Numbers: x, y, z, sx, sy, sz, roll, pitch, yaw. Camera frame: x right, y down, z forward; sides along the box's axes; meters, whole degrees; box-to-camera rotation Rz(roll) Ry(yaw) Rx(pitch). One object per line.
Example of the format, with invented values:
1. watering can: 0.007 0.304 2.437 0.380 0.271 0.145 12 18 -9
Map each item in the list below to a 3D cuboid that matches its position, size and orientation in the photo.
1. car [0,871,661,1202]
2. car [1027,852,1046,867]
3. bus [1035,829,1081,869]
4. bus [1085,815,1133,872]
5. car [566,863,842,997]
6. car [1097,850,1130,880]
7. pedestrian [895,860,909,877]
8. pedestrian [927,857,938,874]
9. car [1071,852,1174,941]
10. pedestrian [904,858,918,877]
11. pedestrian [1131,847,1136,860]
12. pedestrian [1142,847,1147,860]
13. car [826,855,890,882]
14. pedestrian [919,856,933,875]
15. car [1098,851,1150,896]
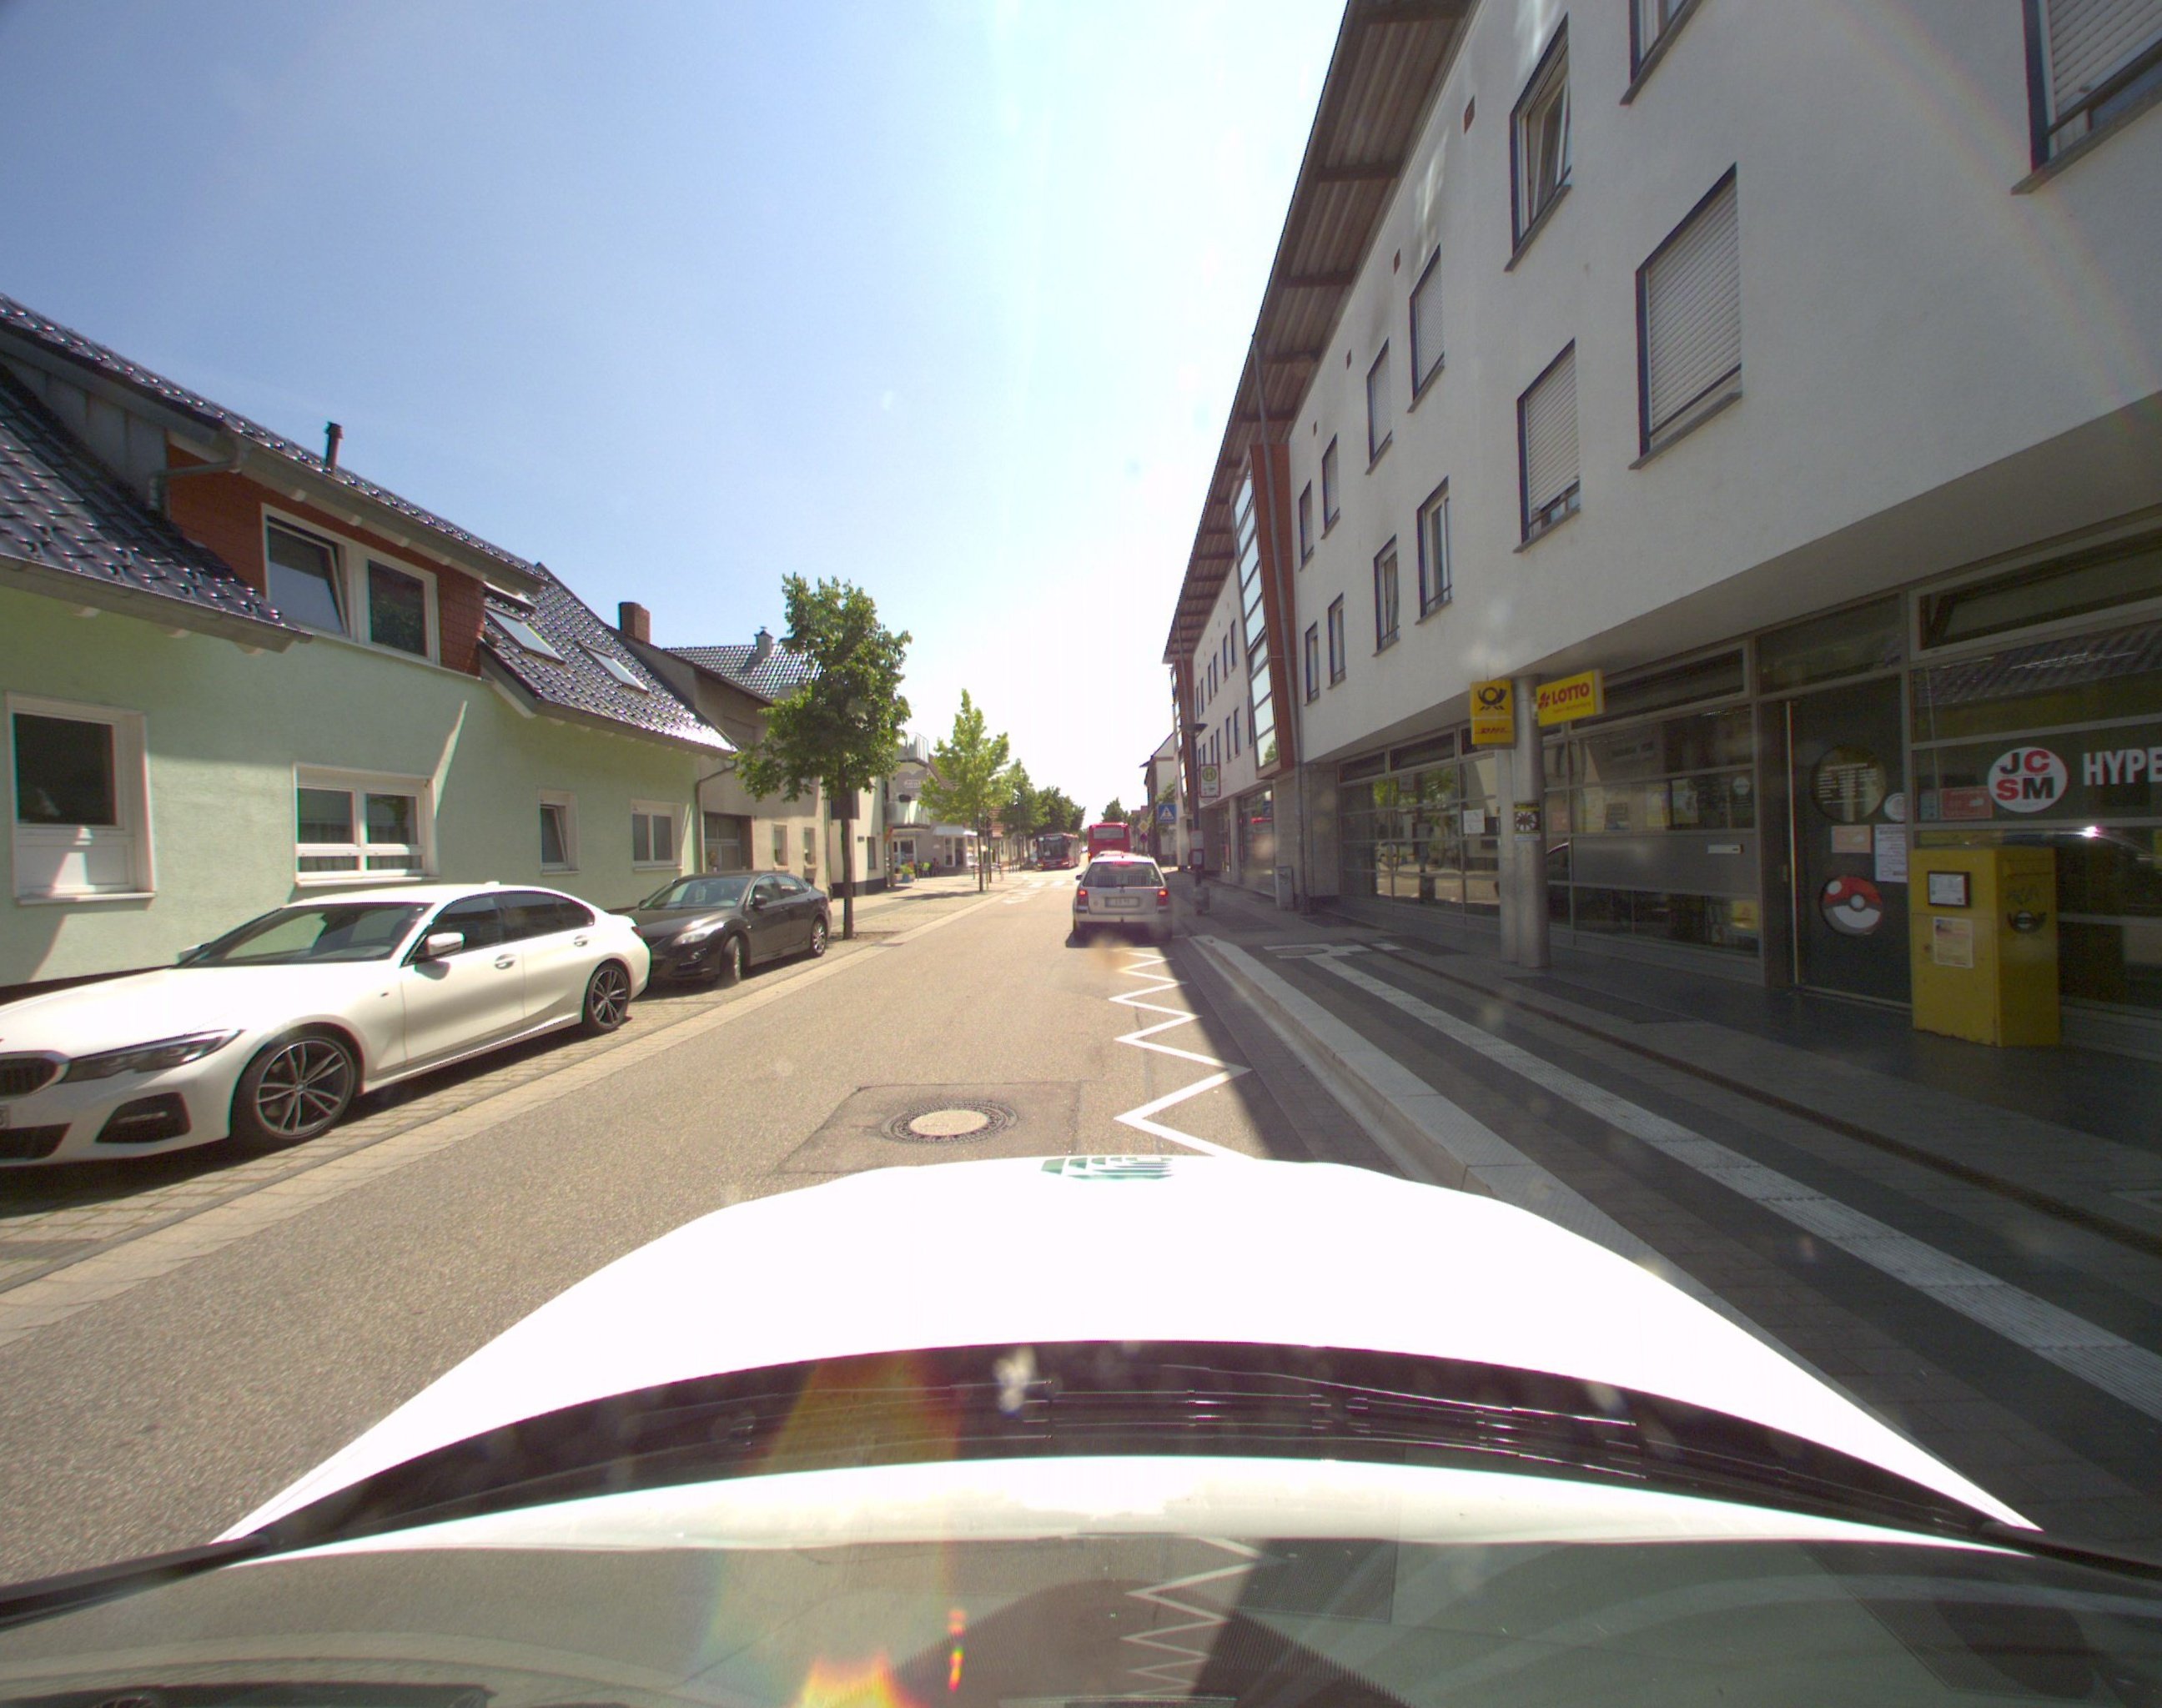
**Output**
1. car: -5.251 0.924 6.092 1.713 1.436 4.462 -1 0 2
2. car: -4.377 0.524 80.563 1.599 1.438 4.066 -2 0 1
3. bus: -1.795 -0.466 73.195 2.658 3.123 17.820 -2 0 3
4. bus: 1.676 -0.618 53.914 2.731 3.298 12.704 -1 0 0
5. car: -5.054 0.913 11.741 1.654 1.436 4.541 -2 0 2
6. car: 1.634 0.501 40.867 1.587 1.430 3.682 -1 0 2
7. pedestrian: -12.124 0.996 55.174 0.639 1.116 0.780 1 0 -42
8. pedestrian: -10.389 0.805 57.146 0.620 1.179 0.696 -2 0 -3
9. car: 0.722 0.682 15.023 1.671 1.430 3.681 0 0 1
10. pedestrian: -11.697 0.893 56.029 0.639 1.289 0.780 1 0 -42
11. pedestrian: 7.171 -0.078 111.801 0.604 1.667 0.789 -2 0 0
12. pedestrian: 8.461 -0.058 108.542 0.604 1.667 0.789 -2 0 0
13. car: -14.683 0.917 53.724 3.923 1.545 1.510 -2 2 -16
14. pedestrian: -10.608 0.776 55.839 0.639 1.289 0.780 1 0 -42
15. car: 1.442 0.613 28.268 1.671 1.430 3.681 -1 0 1
